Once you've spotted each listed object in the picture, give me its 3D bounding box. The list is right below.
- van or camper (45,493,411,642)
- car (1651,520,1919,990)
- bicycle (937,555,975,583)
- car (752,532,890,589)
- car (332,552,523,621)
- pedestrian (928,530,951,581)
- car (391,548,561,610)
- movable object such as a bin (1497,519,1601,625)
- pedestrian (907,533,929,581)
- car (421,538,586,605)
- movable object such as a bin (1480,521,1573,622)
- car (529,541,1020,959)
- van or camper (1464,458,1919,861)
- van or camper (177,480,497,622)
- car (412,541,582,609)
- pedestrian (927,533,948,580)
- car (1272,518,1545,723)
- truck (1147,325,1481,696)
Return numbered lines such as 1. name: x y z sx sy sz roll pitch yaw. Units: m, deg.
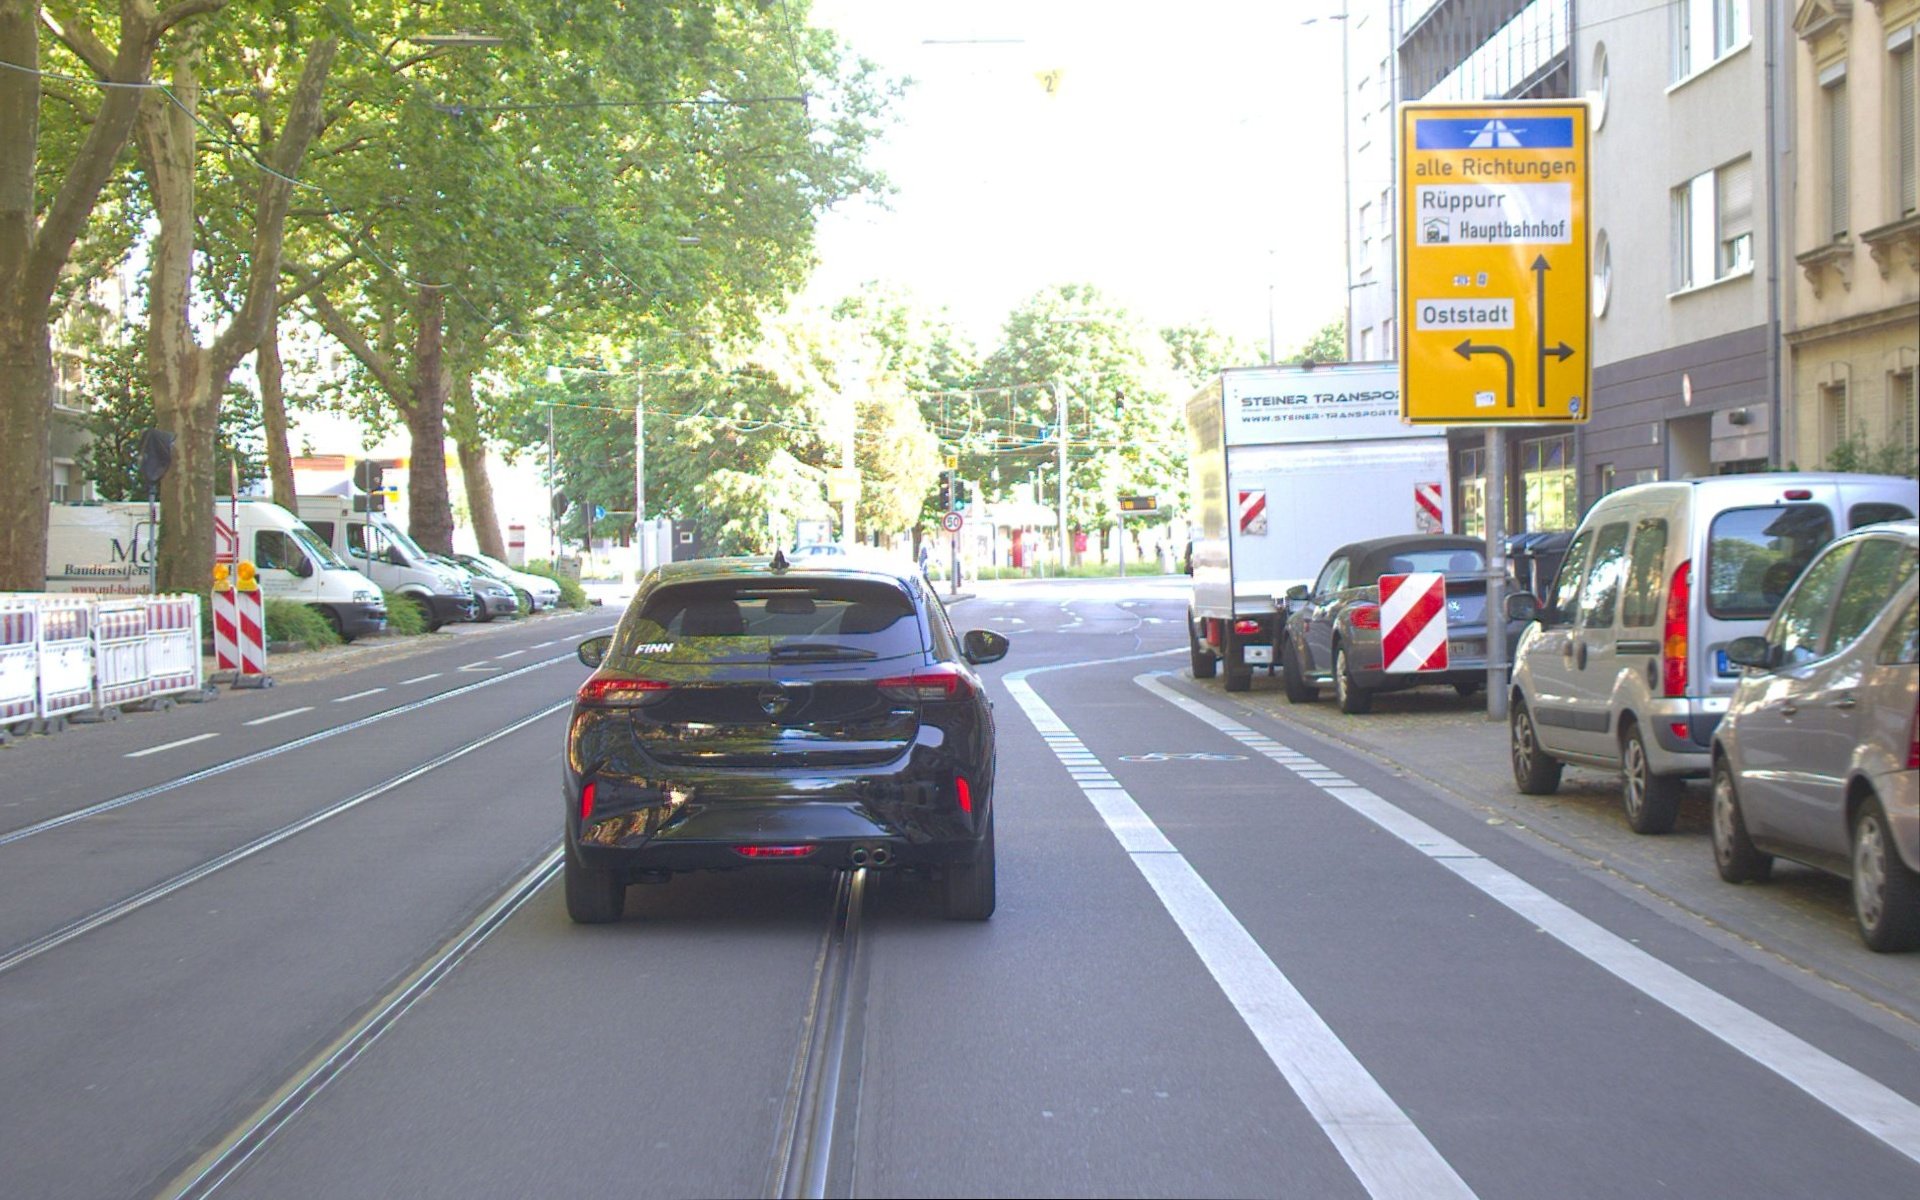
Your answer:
1. van or camper: -12.026 -0.538 56.752 5.502 2.371 2.269 0 1 3
2. car: 3.945 0.481 13.577 1.660 1.575 3.589 -2 1 0
3. bicycle: -0.143 -1.139 126.171 0.789 0.988 2.241 1 1 16
4. car: -4.571 -1.283 112.516 1.994 1.690 4.738 -4 2 -39
5. car: -11.846 -0.307 76.582 3.987 1.510 1.650 0 1 1
6. pedestrian: -0.803 -1.706 132.021 0.658 1.926 0.608 1 1 31
7. car: -12.045 -0.538 85.672 3.987 1.510 1.650 0 1 1
8. movable object such as a bin: 8.623 -0.409 50.428 1.186 1.479 1.595 -3 1 0
9. pedestrian: -1.618 -1.659 131.714 0.617 1.847 0.583 1 1 35
10. car: -12.049 -0.758 90.849 4.167 1.665 1.965 -1 1 -3
11. movable object such as a bin: 8.612 -0.436 52.326 1.110 1.479 1.388 -3 1 0
12. car: -0.708 0.510 14.482 1.781 1.491 4.000 0 1 -1
13. van or camper: 3.953 0.233 18.494 1.669 1.876 4.211 -2 1 -2
14. van or camper: -11.922 -0.945 66.096 5.723 2.635 2.269 0 1 0
15. car: -11.896 -0.664 88.486 4.167 1.665 1.965 -1 1 -3
16. pedestrian: -0.890 -1.693 134.456 0.582 1.847 0.618 0 1 -26
17. car: 3.793 0.129 29.712 1.731 1.552 4.152 -3 1 0
18. truck: 3.508 -0.900 35.739 2.538 3.326 7.195 -3 1 0
